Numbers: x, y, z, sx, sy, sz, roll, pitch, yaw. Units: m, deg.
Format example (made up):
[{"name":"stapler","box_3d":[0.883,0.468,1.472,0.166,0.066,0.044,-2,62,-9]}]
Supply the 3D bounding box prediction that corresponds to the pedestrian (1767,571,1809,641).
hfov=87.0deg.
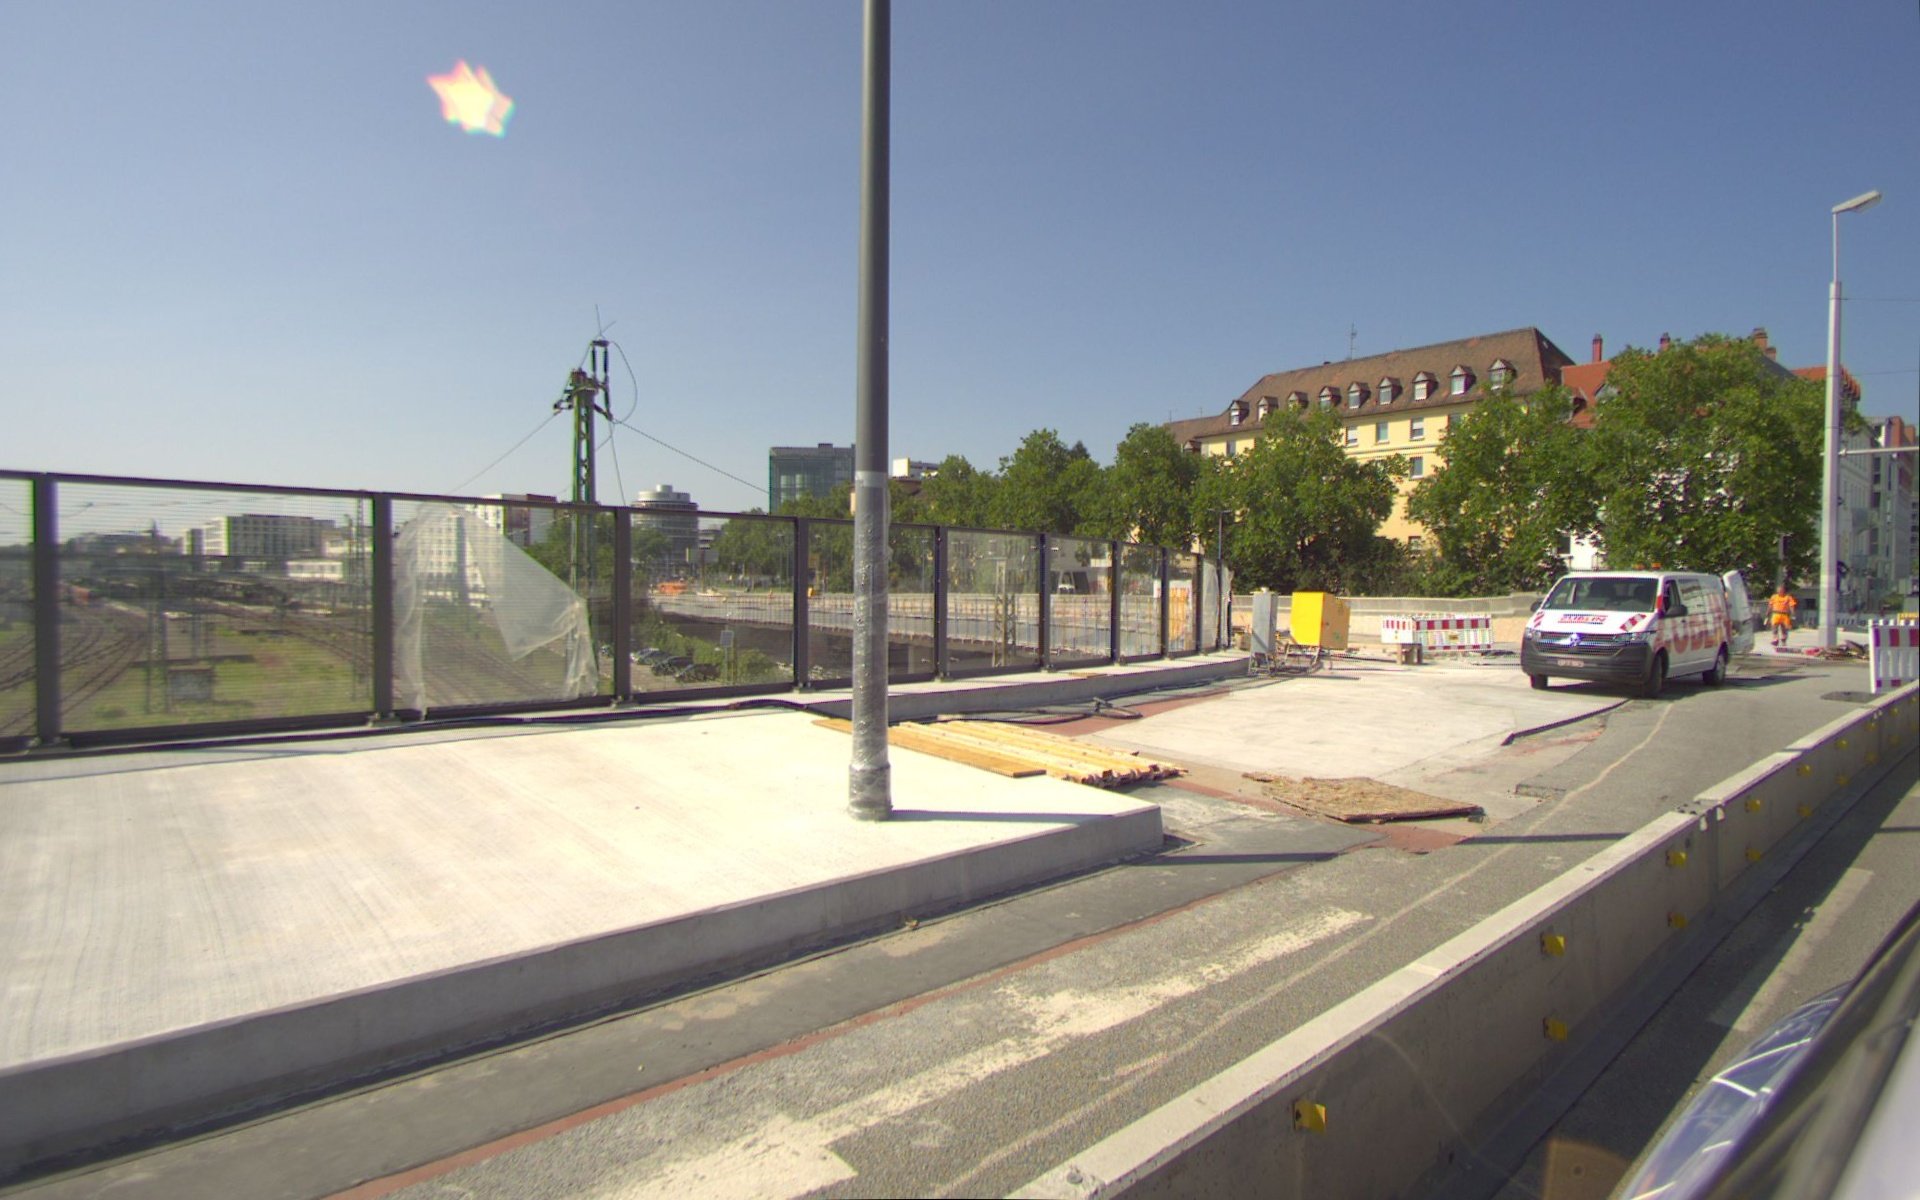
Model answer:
[{"name":"pedestrian","box_3d":[24.694,0.163,30.190,0.828,2.009,0.761,-1,3,-41]}]

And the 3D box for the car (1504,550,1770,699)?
[{"name":"car","box_3d":[11.647,0.255,17.177,6.354,2.116,1.938,-2,2,-39]}]
